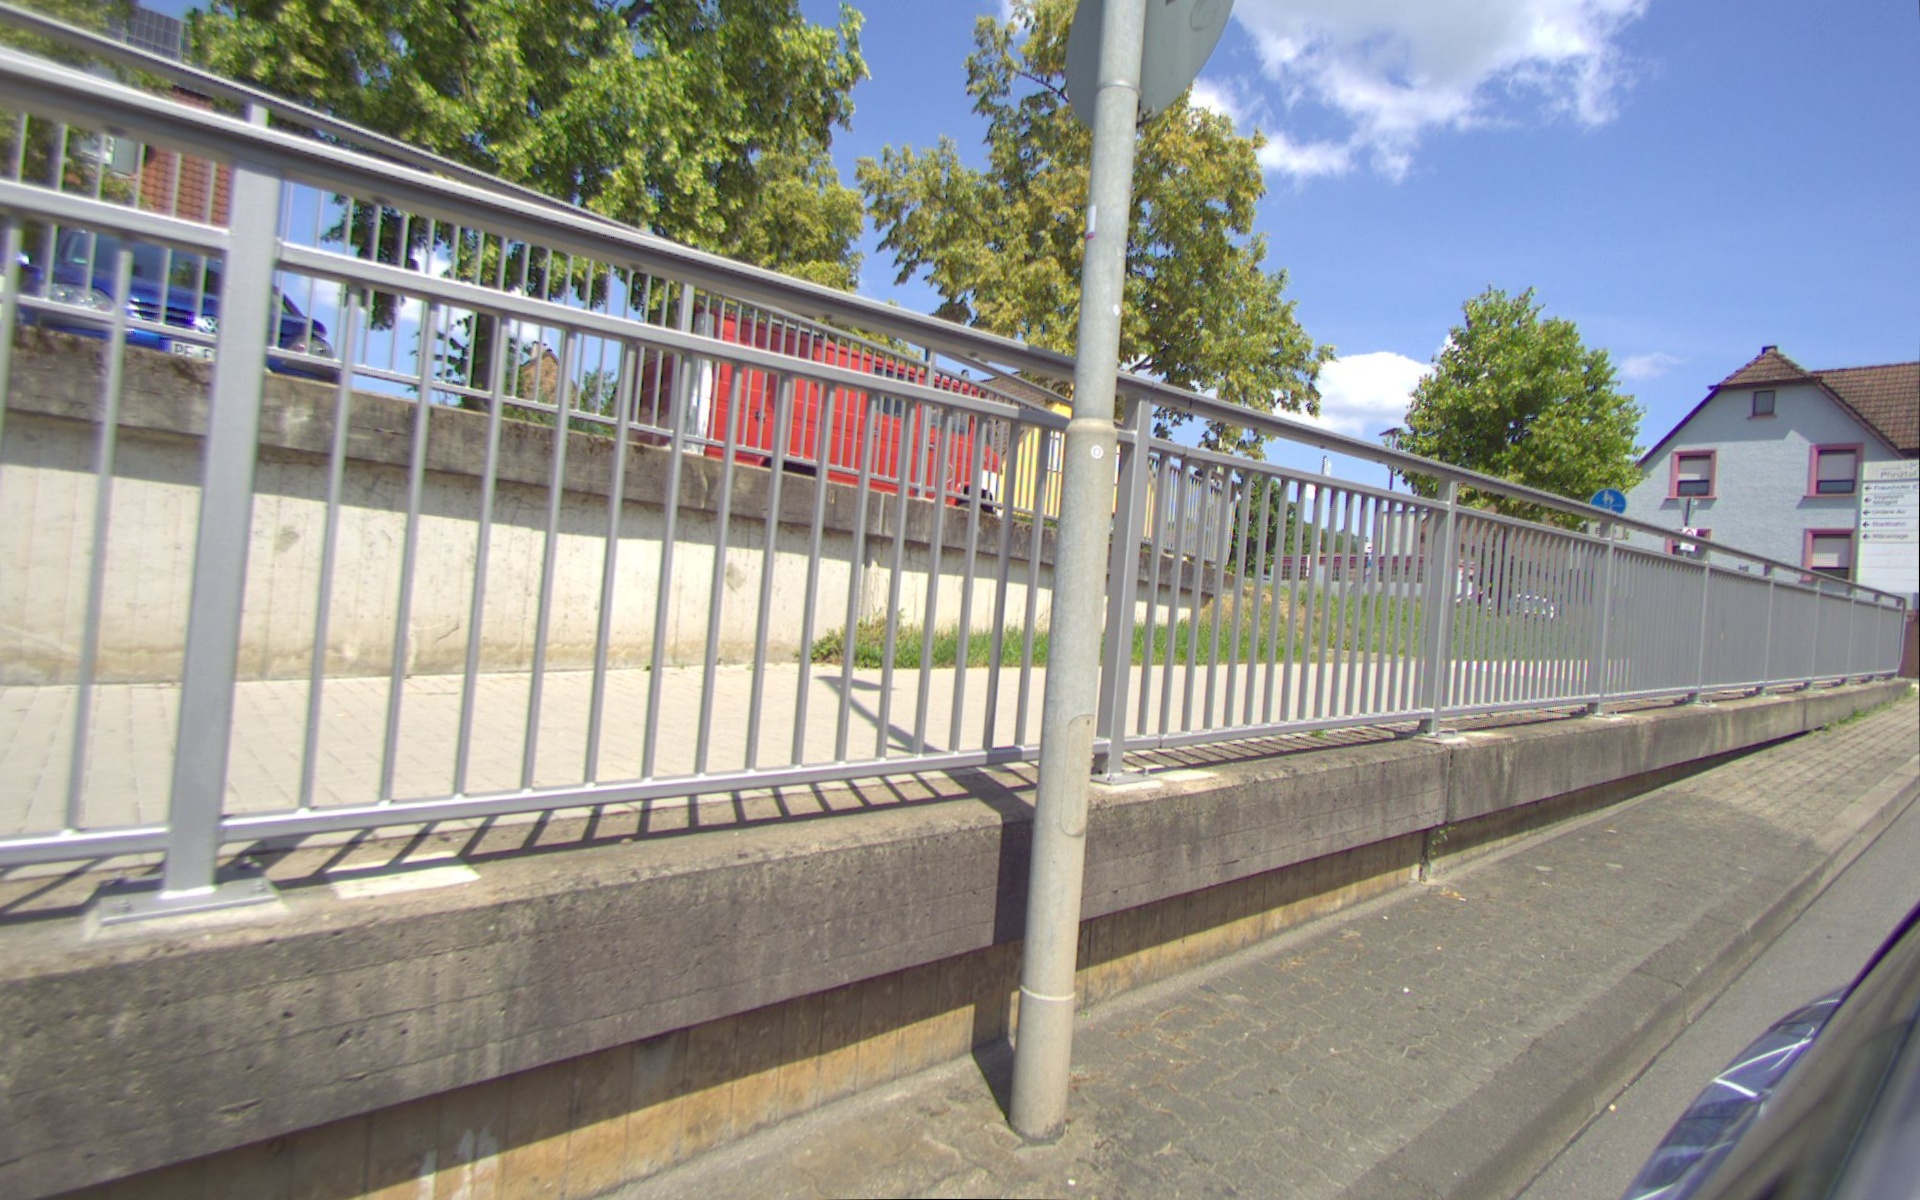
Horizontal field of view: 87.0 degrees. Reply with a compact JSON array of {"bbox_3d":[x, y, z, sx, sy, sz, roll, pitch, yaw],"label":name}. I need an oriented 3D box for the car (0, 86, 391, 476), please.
[{"bbox_3d":[-5.973,-1.973,7.489,3.983,1.650,1.836,1,0,41],"label":"car"}]

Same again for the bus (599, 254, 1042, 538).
[{"bbox_3d":[-1.618,-2.325,13.254,5.270,2.396,2.192,6,-1,-42],"label":"bus"}]
